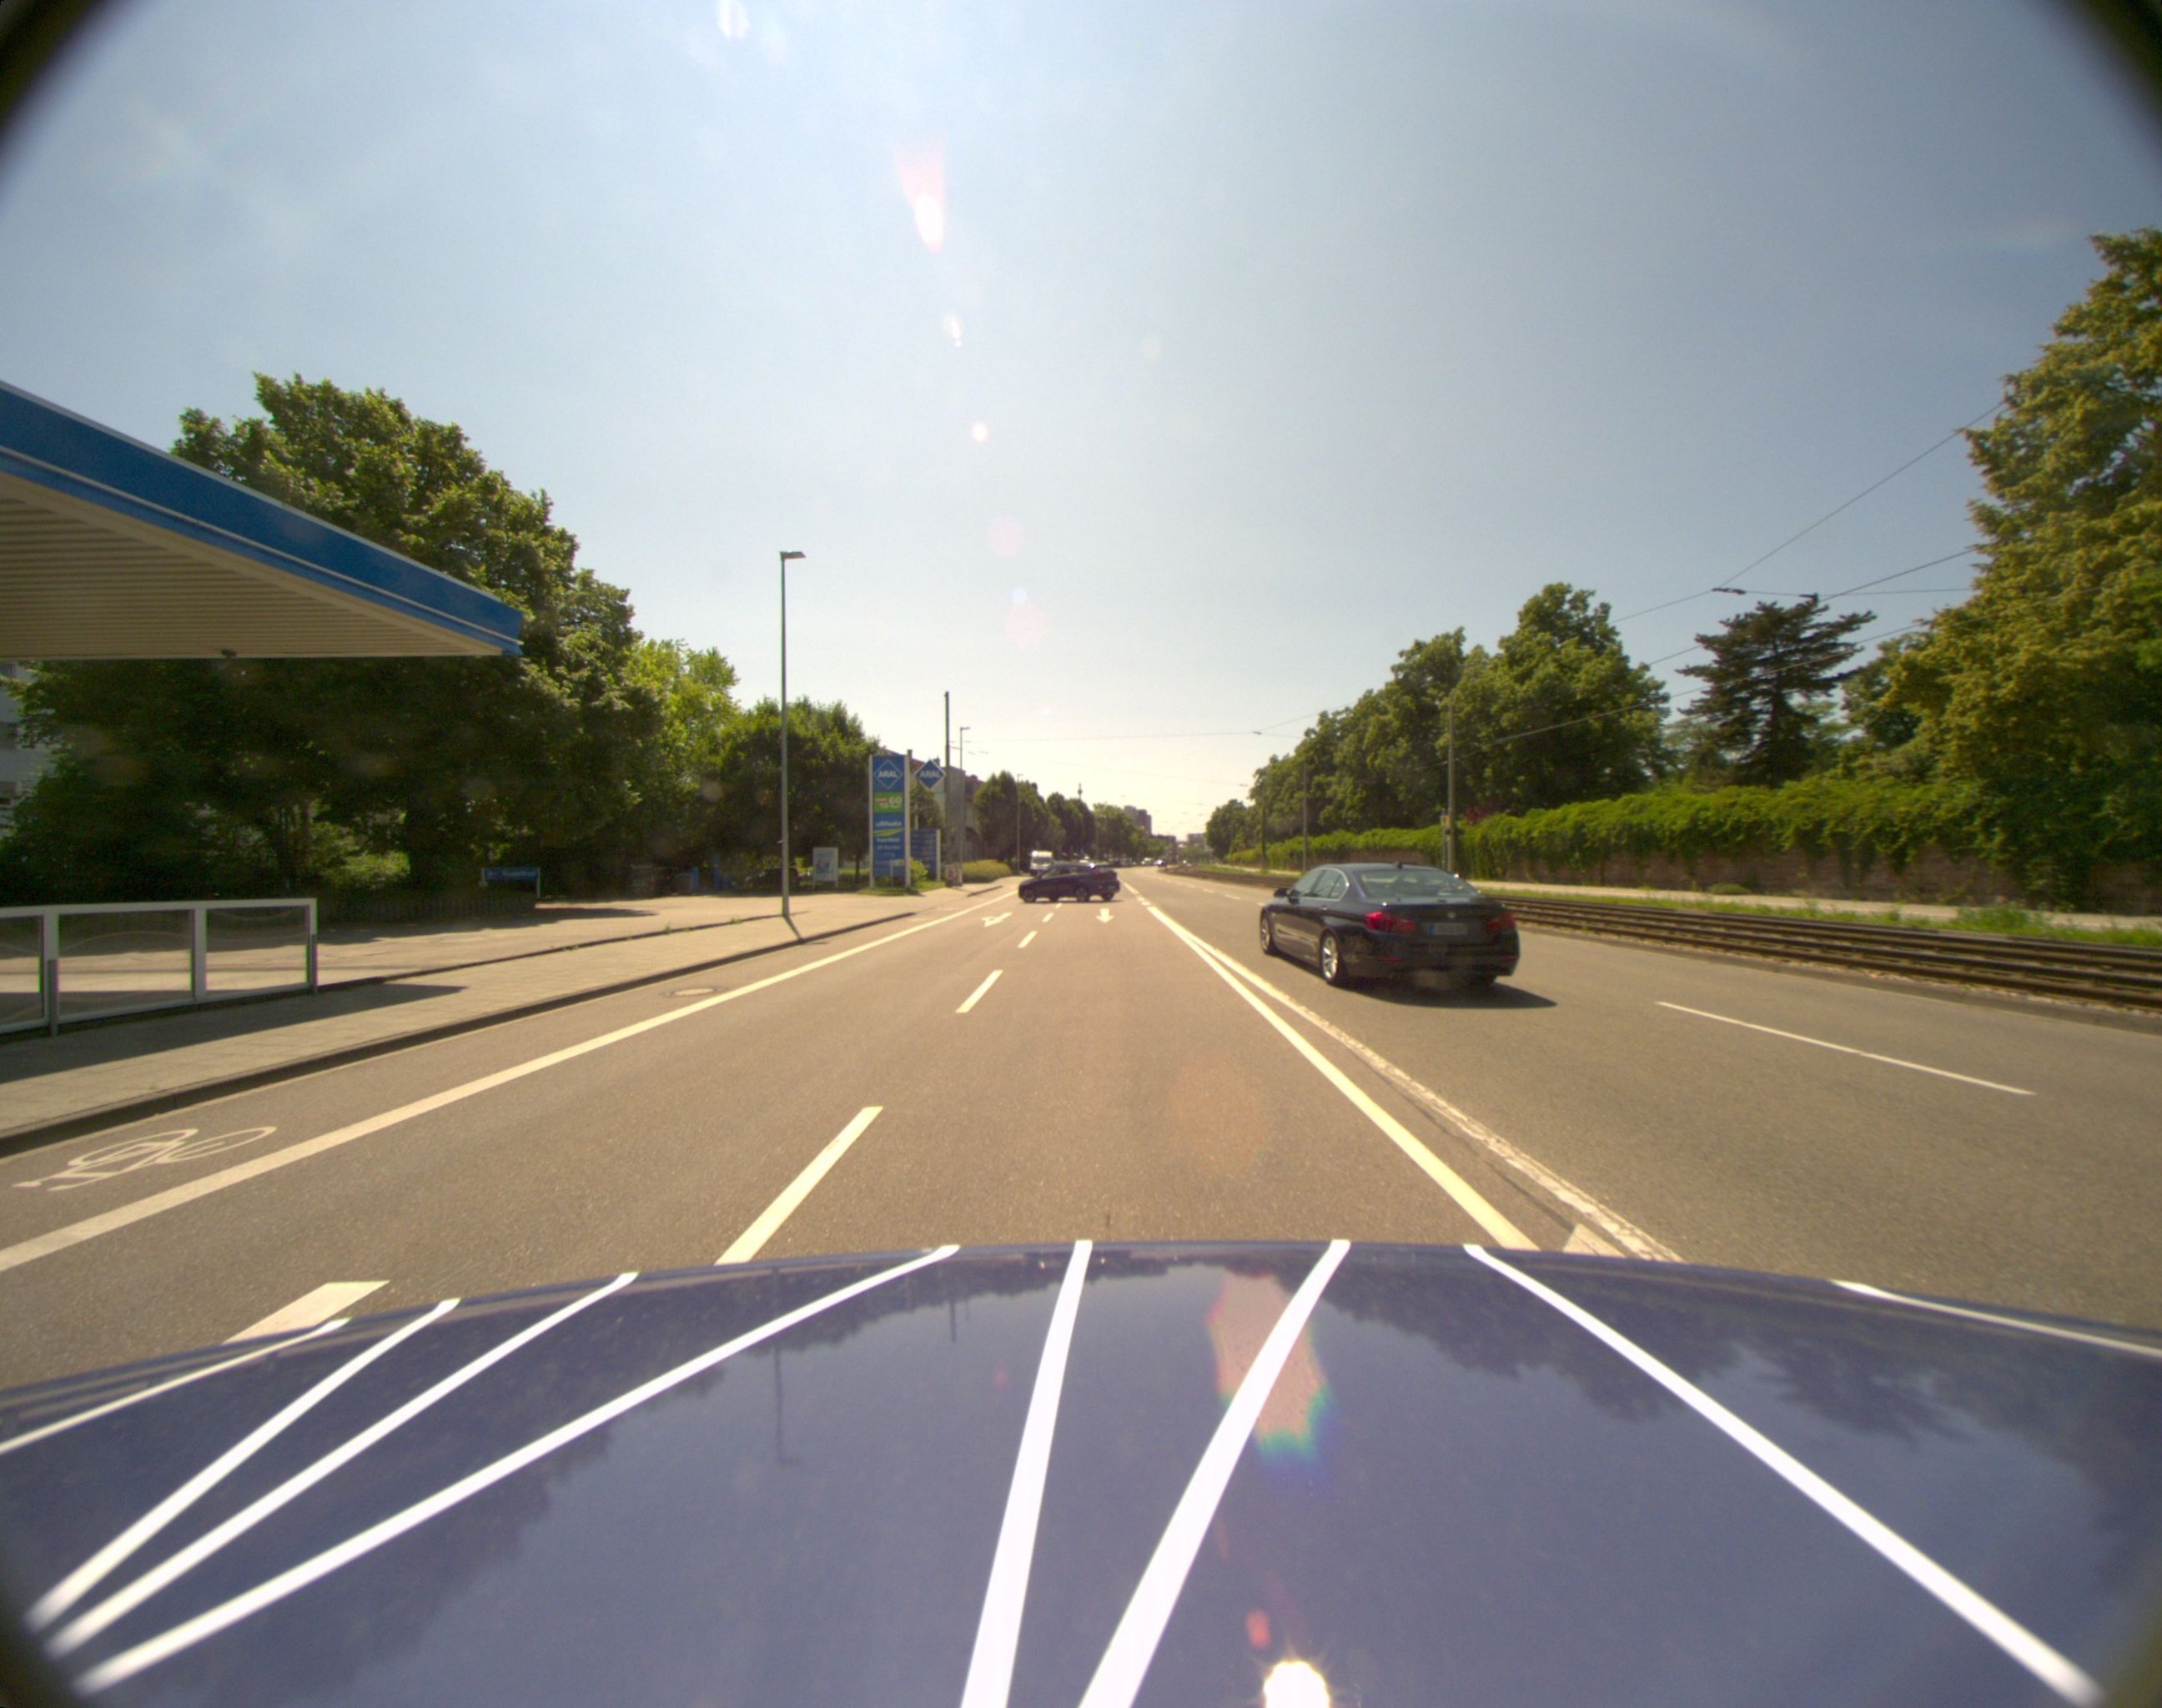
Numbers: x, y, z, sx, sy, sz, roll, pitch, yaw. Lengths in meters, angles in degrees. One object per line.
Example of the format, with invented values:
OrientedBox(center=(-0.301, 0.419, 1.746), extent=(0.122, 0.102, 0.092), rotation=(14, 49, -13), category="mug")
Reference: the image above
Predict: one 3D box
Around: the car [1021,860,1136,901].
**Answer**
OrientedBox(center=(-0.134, 0.975, 28.932), extent=(4.130, 1.413, 1.722), rotation=(-1, 0, 35), category="car")

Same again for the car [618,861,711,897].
OrientedBox(center=(-21.497, 1.248, 39.444), extent=(1.997, 1.653, 4.412), rotation=(-1, 1, 6), category="car")

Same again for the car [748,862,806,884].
OrientedBox(center=(-24.786, 1.522, 62.000), extent=(3.992, 1.677, 2.002), rotation=(-1, 0, 16), category="car")

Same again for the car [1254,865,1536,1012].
OrientedBox(center=(3.670, 0.886, 9.885), extent=(1.798, 1.391, 4.447), rotation=(-1, 0, 0), category="car")

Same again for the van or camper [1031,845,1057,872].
OrientedBox(center=(-3.609, 0.415, 74.981), extent=(2.125, 2.469, 5.993), rotation=(2, 0, 0), category="van or camper")

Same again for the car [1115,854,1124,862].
OrientedBox(center=(8.850, 0.888, 174.110), extent=(1.998, 1.718, 4.000), rotation=(-1, 0, 2), category="car")

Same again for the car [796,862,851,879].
OrientedBox(center=(-23.514, 1.496, 69.433), extent=(4.220, 1.512, 2.001), rotation=(-1, 0, 9), category="car")

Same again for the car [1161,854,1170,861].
OrientedBox(center=(18.047, 0.831, 162.958), extent=(1.695, 1.460, 4.003), rotation=(-1, 0, 10), category="car")
